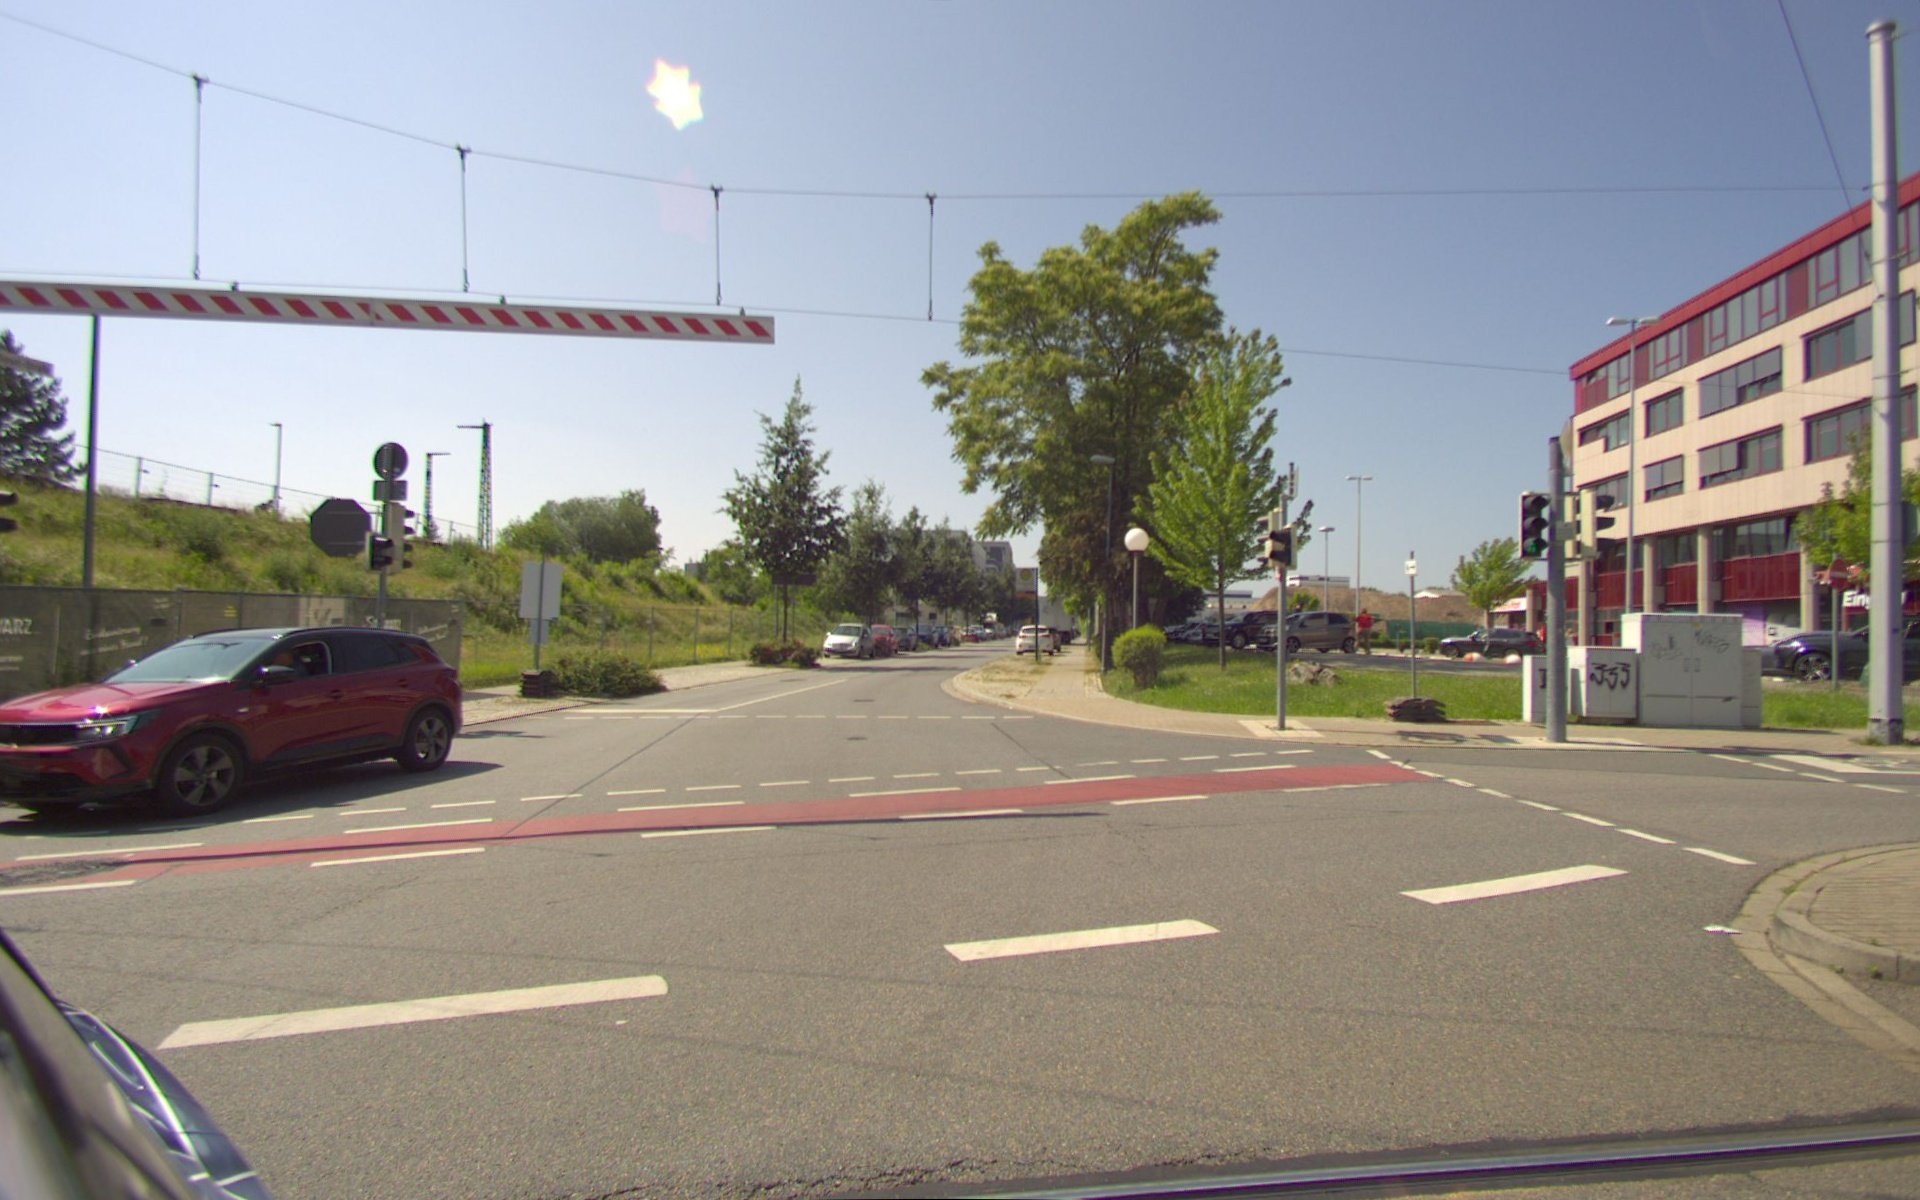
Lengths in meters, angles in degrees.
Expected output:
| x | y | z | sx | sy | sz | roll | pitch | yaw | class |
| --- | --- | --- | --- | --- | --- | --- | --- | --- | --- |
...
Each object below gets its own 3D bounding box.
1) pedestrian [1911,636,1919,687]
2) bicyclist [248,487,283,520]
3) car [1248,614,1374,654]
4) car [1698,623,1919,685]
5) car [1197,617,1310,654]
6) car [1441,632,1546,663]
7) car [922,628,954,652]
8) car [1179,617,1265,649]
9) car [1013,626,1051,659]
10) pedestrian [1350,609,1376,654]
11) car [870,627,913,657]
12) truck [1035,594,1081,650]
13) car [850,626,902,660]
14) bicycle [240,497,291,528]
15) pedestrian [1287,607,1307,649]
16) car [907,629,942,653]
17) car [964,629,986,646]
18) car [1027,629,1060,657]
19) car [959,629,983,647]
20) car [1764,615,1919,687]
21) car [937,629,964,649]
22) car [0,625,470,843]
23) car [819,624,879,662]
| x | y | z | sx | sy | sz | roll | pitch | yaw | class |
| --- | --- | --- | --- | --- | --- | --- | --- | --- | --- |
| 25.907 | 1.634 | 27.060 | 0.455 | 1.366 | 0.523 | 1 | -2 | -17 | pedestrian |
| -32.275 | -4.498 | 47.058 | 0.939 | 1.399 | 1.063 | -1 | -1 | -2 | bicyclist |
| 12.529 | 1.209 | 36.213 | 3.923 | 1.348 | 1.723 | -1 | -2 | -14 | car |
| 23.372 | 1.422 | 27.653 | 1.888 | 1.504 | 4.877 | 2 | -2 | -40 | car |
| 13.002 | 1.566 | 44.804 | 4.733 | 1.504 | 1.858 | 0 | -2 | -26 | car |
| 26.172 | 2.309 | 49.792 | 1.695 | 1.462 | 4.247 | 2 | -3 | -40 | car |
| -1.598 | 2.980 | 75.577 | 1.826 | 1.628 | 3.991 | 2 | -2 | 7 | car |
| 15.506 | 1.998 | 59.970 | 4.634 | 1.818 | 2.006 | 1 | -3 | -23 | car |
| 3.569 | 2.081 | 49.829 | 1.745 | 1.504 | 3.993 | -1 | -2 | 6 | car |
| 13.991 | 1.109 | 35.133 | 0.745 | 1.539 | 0.565 | 2 | -3 | -44 | pedestrian |
| -3.986 | 2.493 | 59.546 | 1.826 | 1.628 | 3.991 | 2 | -2 | 7 | car |
| 7.973 | 1.849 | 81.521 | 3.316 | 4.175 | 9.256 | -1 | -2 | 7 | truck |
| -4.283 | 2.199 | 52.064 | 1.826 | 1.628 | 3.991 | 2 | -2 | 7 | car |
| -32.260 | -4.059 | 47.035 | 0.923 | 1.222 | 2.175 | -1 | -1 | -2 | bicycle |
| 12.590 | 1.042 | 37.773 | 0.562 | 1.539 | 0.749 | -1 | -2 | 29 | pedestrian |
| -2.412 | 2.807 | 69.320 | 1.847 | 1.554 | 3.992 | 0 | -2 | 6 | car |
| 1.602 | 3.873 | 103.827 | 1.826 | 1.628 | 3.991 | 1 | -2 | 7 | car |
| 4.740 | 2.406 | 57.140 | 1.793 | 1.527 | 3.992 | -1 | -2 | 6 | car |
| 1.107 | 3.602 | 95.901 | 1.826 | 1.628 | 3.991 | 1 | -2 | 7 | car |
| 22.728 | 1.276 | 24.334 | 5.118 | 1.606 | 2.155 | 1 | -3 | 44 | car |
| -0.810 | 3.339 | 87.117 | 1.826 | 1.628 | 3.991 | 1 | -2 | 7 | car |
| -6.976 | 1.052 | 9.814 | 1.803 | 1.616 | 4.291 | -1 | -2 | 11 | car |
| -5.168 | 2.035 | 47.804 | 1.826 | 1.628 | 4.360 | 3 | -2 | 7 | car |
